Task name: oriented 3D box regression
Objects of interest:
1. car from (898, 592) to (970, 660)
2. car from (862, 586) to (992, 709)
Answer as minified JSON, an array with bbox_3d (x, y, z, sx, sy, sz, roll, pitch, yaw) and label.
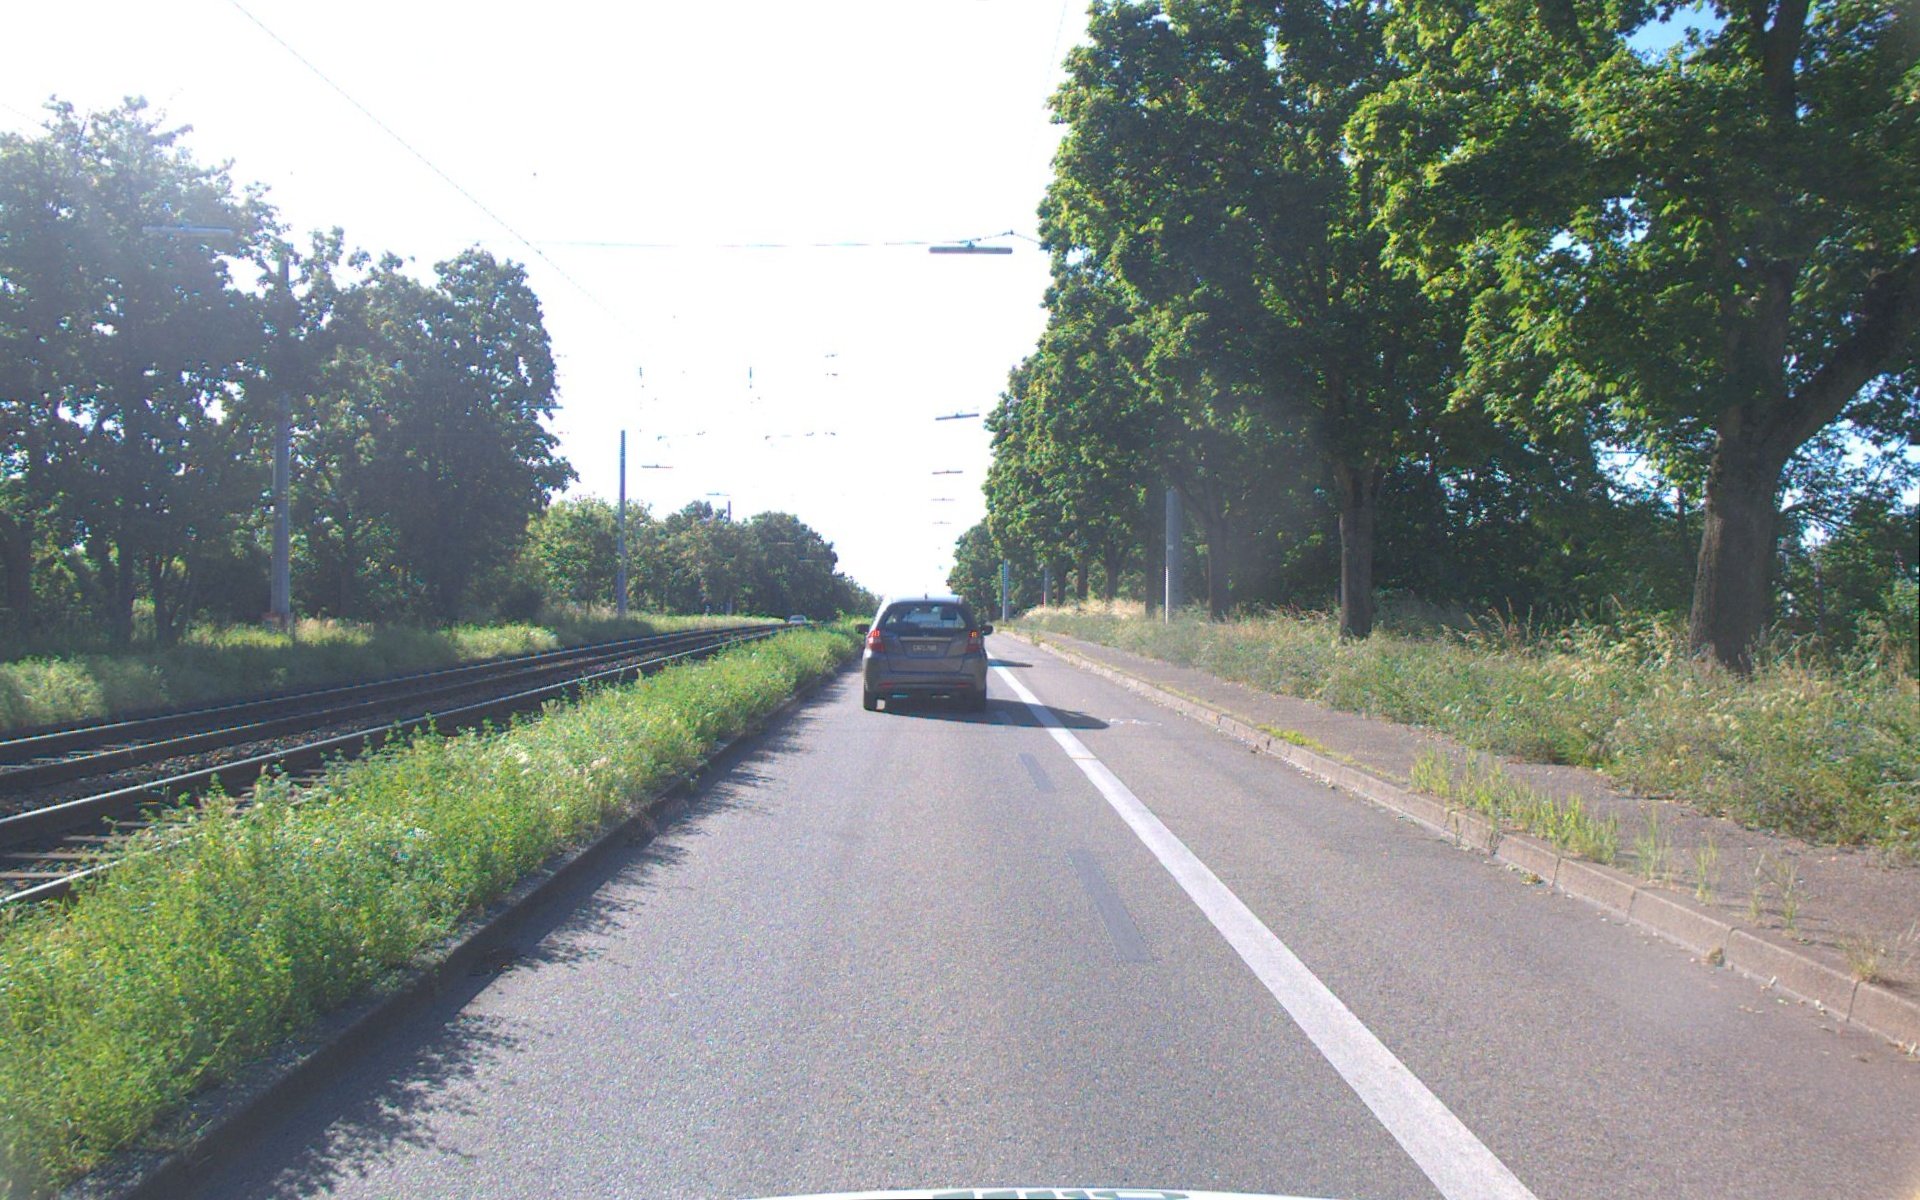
[{"bbox_3d":[-0.615,0.604,40.258,1.621,1.534,3.810,1,0,0],"label":"car"},{"bbox_3d":[-0.478,0.604,23.054,1.636,1.534,3.809,1,0,-2],"label":"car"}]
